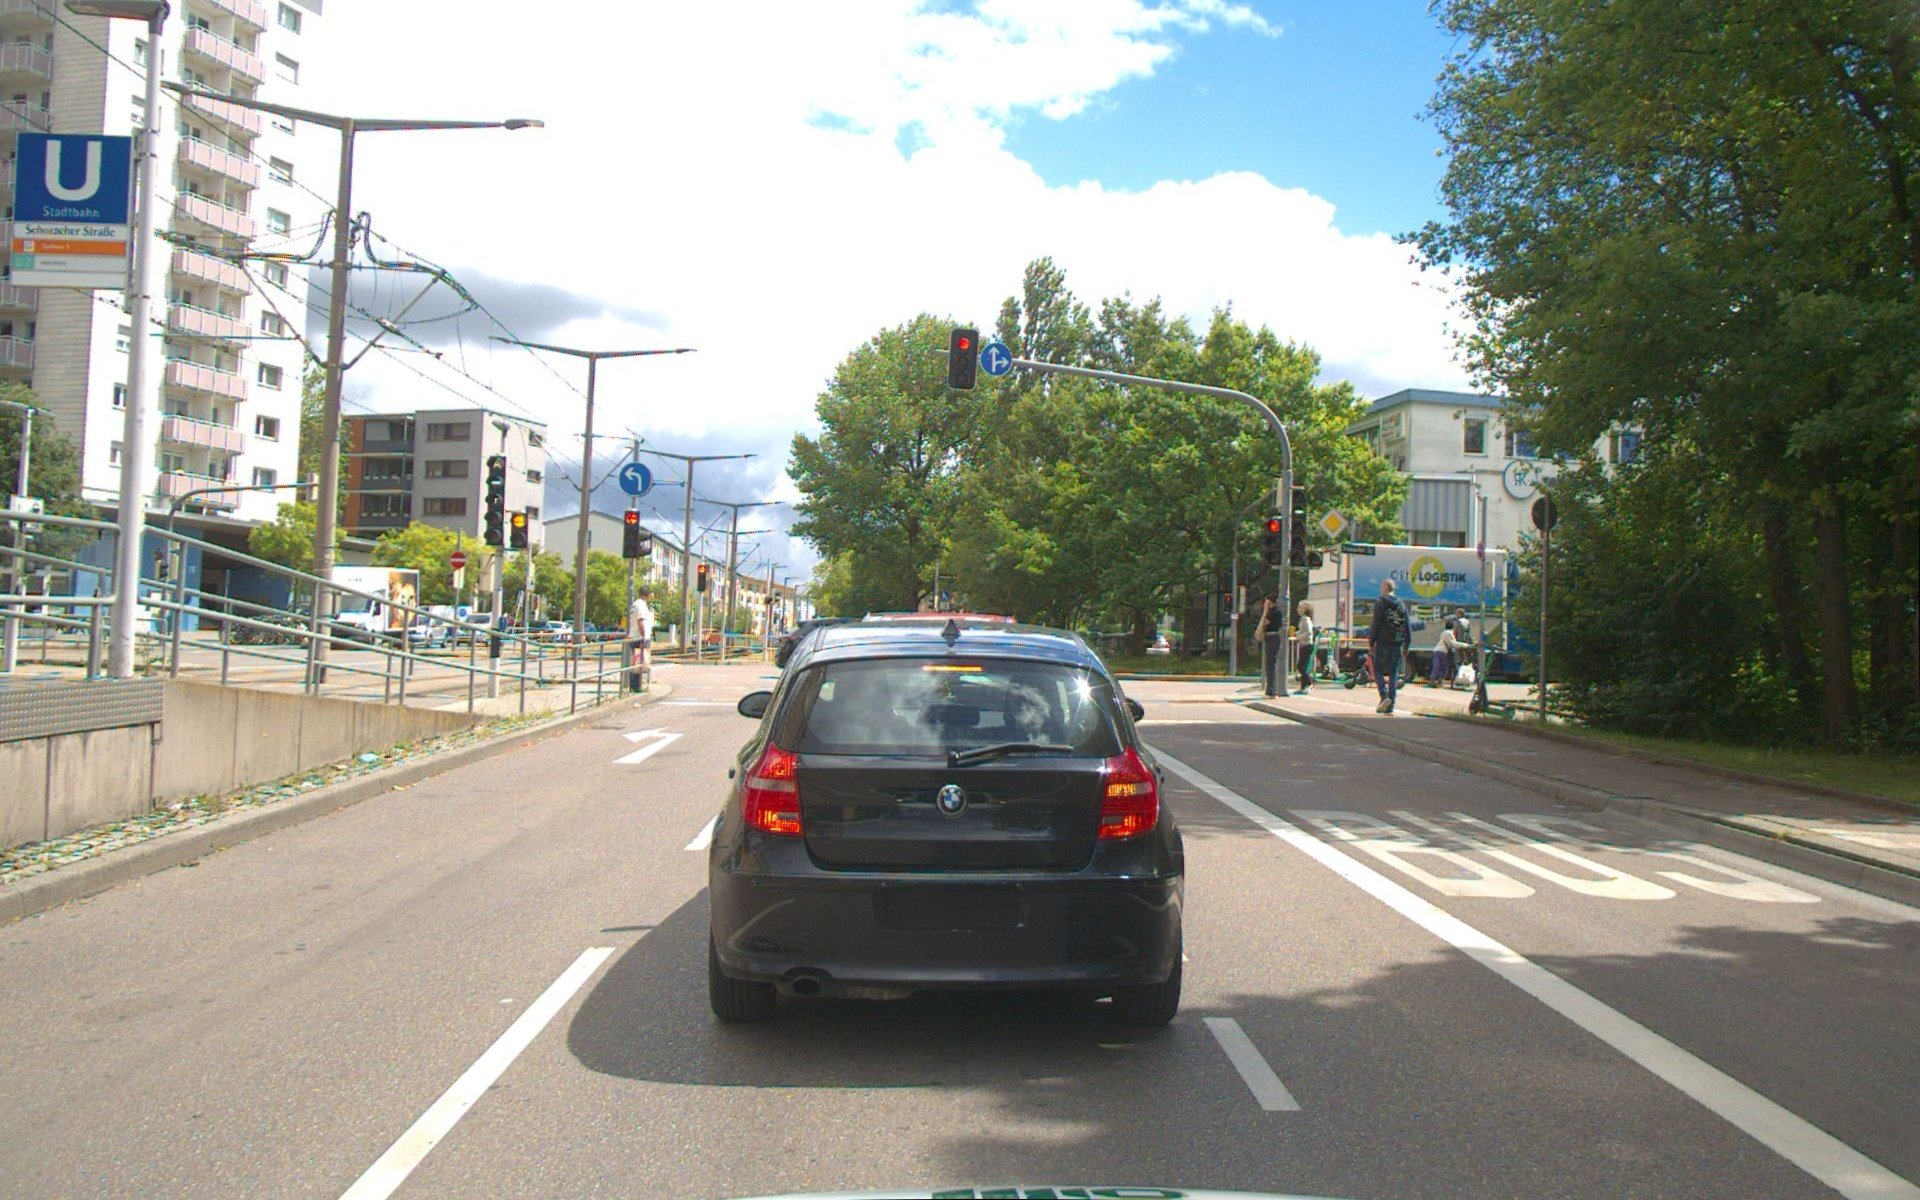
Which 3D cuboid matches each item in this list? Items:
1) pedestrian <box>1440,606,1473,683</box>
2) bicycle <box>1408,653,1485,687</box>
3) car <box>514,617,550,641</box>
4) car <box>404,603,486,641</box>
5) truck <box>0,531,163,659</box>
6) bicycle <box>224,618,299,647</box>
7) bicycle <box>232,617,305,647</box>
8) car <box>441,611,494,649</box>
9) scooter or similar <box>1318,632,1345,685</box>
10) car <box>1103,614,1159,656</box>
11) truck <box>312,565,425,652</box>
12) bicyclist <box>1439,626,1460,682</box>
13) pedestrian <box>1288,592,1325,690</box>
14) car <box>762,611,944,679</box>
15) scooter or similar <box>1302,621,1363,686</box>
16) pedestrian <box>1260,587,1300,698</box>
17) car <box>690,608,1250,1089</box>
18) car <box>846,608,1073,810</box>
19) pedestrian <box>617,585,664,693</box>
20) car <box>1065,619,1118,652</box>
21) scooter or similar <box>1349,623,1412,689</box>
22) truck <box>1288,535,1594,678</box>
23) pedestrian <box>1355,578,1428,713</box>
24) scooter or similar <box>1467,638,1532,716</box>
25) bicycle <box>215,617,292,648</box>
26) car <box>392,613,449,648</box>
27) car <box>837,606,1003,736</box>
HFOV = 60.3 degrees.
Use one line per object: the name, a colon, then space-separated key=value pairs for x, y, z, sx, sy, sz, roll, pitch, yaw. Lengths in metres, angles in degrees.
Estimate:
pedestrian: x=11.329 y=1.011 z=37.714 sx=0.644 sy=1.743 sz=0.461 roll=1 pitch=-1 yaw=25
bicycle: x=10.451 y=1.502 z=35.522 sx=1.552 sy=0.620 sz=0.534 roll=2 pitch=0 yaw=19
car: x=-28.812 y=1.937 z=111.440 sx=1.559 sy=1.500 sz=3.773 roll=2 pitch=-1 yaw=-2
car: x=-27.727 y=1.183 z=89.136 sx=3.893 sy=2.009 sz=1.630 roll=2 pitch=-1 yaw=-43
truck: x=-23.827 y=-0.162 z=40.795 sx=7.113 sy=2.991 sz=2.762 roll=1 pitch=0 yaw=8
bicycle: x=-26.540 y=1.239 z=62.818 sx=2.528 sy=1.026 sz=0.748 roll=3 pitch=-3 yaw=-29
bicycle: x=-26.713 y=1.241 z=63.916 sx=2.528 sy=1.026 sz=0.748 roll=3 pitch=-3 yaw=-29
car: x=-24.392 y=1.455 z=81.992 sx=1.559 sy=1.787 sz=3.773 roll=2 pitch=-1 yaw=-2
scooter or similar: x=7.866 y=1.224 z=34.991 sx=0.536 sy=1.082 sz=1.263 roll=1 pitch=0 yaw=13
car: x=8.231 y=1.671 z=79.860 sx=1.694 sy=1.904 sz=3.991 roll=2 pitch=-1 yaw=-9
truck: x=-23.039 y=0.355 z=64.789 sx=2.237 sy=3.172 sz=7.311 roll=2 pitch=-1 yaw=-5
bicyclist: x=10.506 y=1.147 z=35.512 sx=0.390 sy=1.177 sz=0.503 roll=1 pitch=-1 yaw=19
pedestrian: x=6.410 y=0.755 z=30.599 sx=0.622 sy=1.797 sz=0.518 roll=1 pitch=-1 yaw=8
car: x=-2.518 y=1.056 z=38.840 sx=3.926 sy=1.512 sz=1.837 roll=1 pitch=-1 yaw=-19
scooter or similar: x=7.409 y=1.064 z=32.945 sx=1.087 sy=1.257 sz=0.539 roll=1 pitch=-1 yaw=1
pedestrian: x=5.555 y=0.732 z=28.757 sx=0.622 sy=1.909 sz=0.518 roll=1 pitch=-1 yaw=8
car: x=0.010 y=0.761 z=6.707 sx=1.666 sy=1.424 sz=3.419 roll=1 pitch=0 yaw=-1
car: x=-0.025 y=0.792 z=13.610 sx=1.605 sy=1.424 sz=3.419 roll=1 pitch=0 yaw=-1
pedestrian: x=-5.314 y=0.651 z=27.514 sx=0.674 sy=1.764 sz=0.687 roll=1 pitch=-1 yaw=-6
car: x=7.172 y=1.942 z=90.752 sx=1.830 sy=1.691 sz=3.988 roll=2 pitch=-1 yaw=-12
scooter or similar: x=8.629 y=1.141 z=33.945 sx=1.127 sy=1.294 sz=0.555 roll=2 pitch=-1 yaw=1
truck: x=12.218 y=0.202 z=42.159 sx=7.141 sy=3.407 sz=2.600 roll=1 pitch=-1 yaw=-13
pedestrian: x=6.237 y=0.647 z=23.937 sx=0.779 sy=1.909 sz=1.013 roll=1 pitch=-1 yaw=0
scooter or similar: x=9.345 y=1.325 z=28.656 sx=0.872 sy=1.251 sz=0.454 roll=6 pitch=-1 yaw=-1
bicycle: x=-26.358 y=1.224 z=61.725 sx=2.528 sy=1.026 sz=0.748 roll=3 pitch=-3 yaw=-29
car: x=-23.567 y=1.315 z=72.387 sx=1.379 sy=1.486 sz=3.772 roll=2 pitch=-1 yaw=-3
car: x=-0.483 y=0.818 z=21.072 sx=1.862 sy=1.447 sz=4.538 roll=1 pitch=0 yaw=-1
